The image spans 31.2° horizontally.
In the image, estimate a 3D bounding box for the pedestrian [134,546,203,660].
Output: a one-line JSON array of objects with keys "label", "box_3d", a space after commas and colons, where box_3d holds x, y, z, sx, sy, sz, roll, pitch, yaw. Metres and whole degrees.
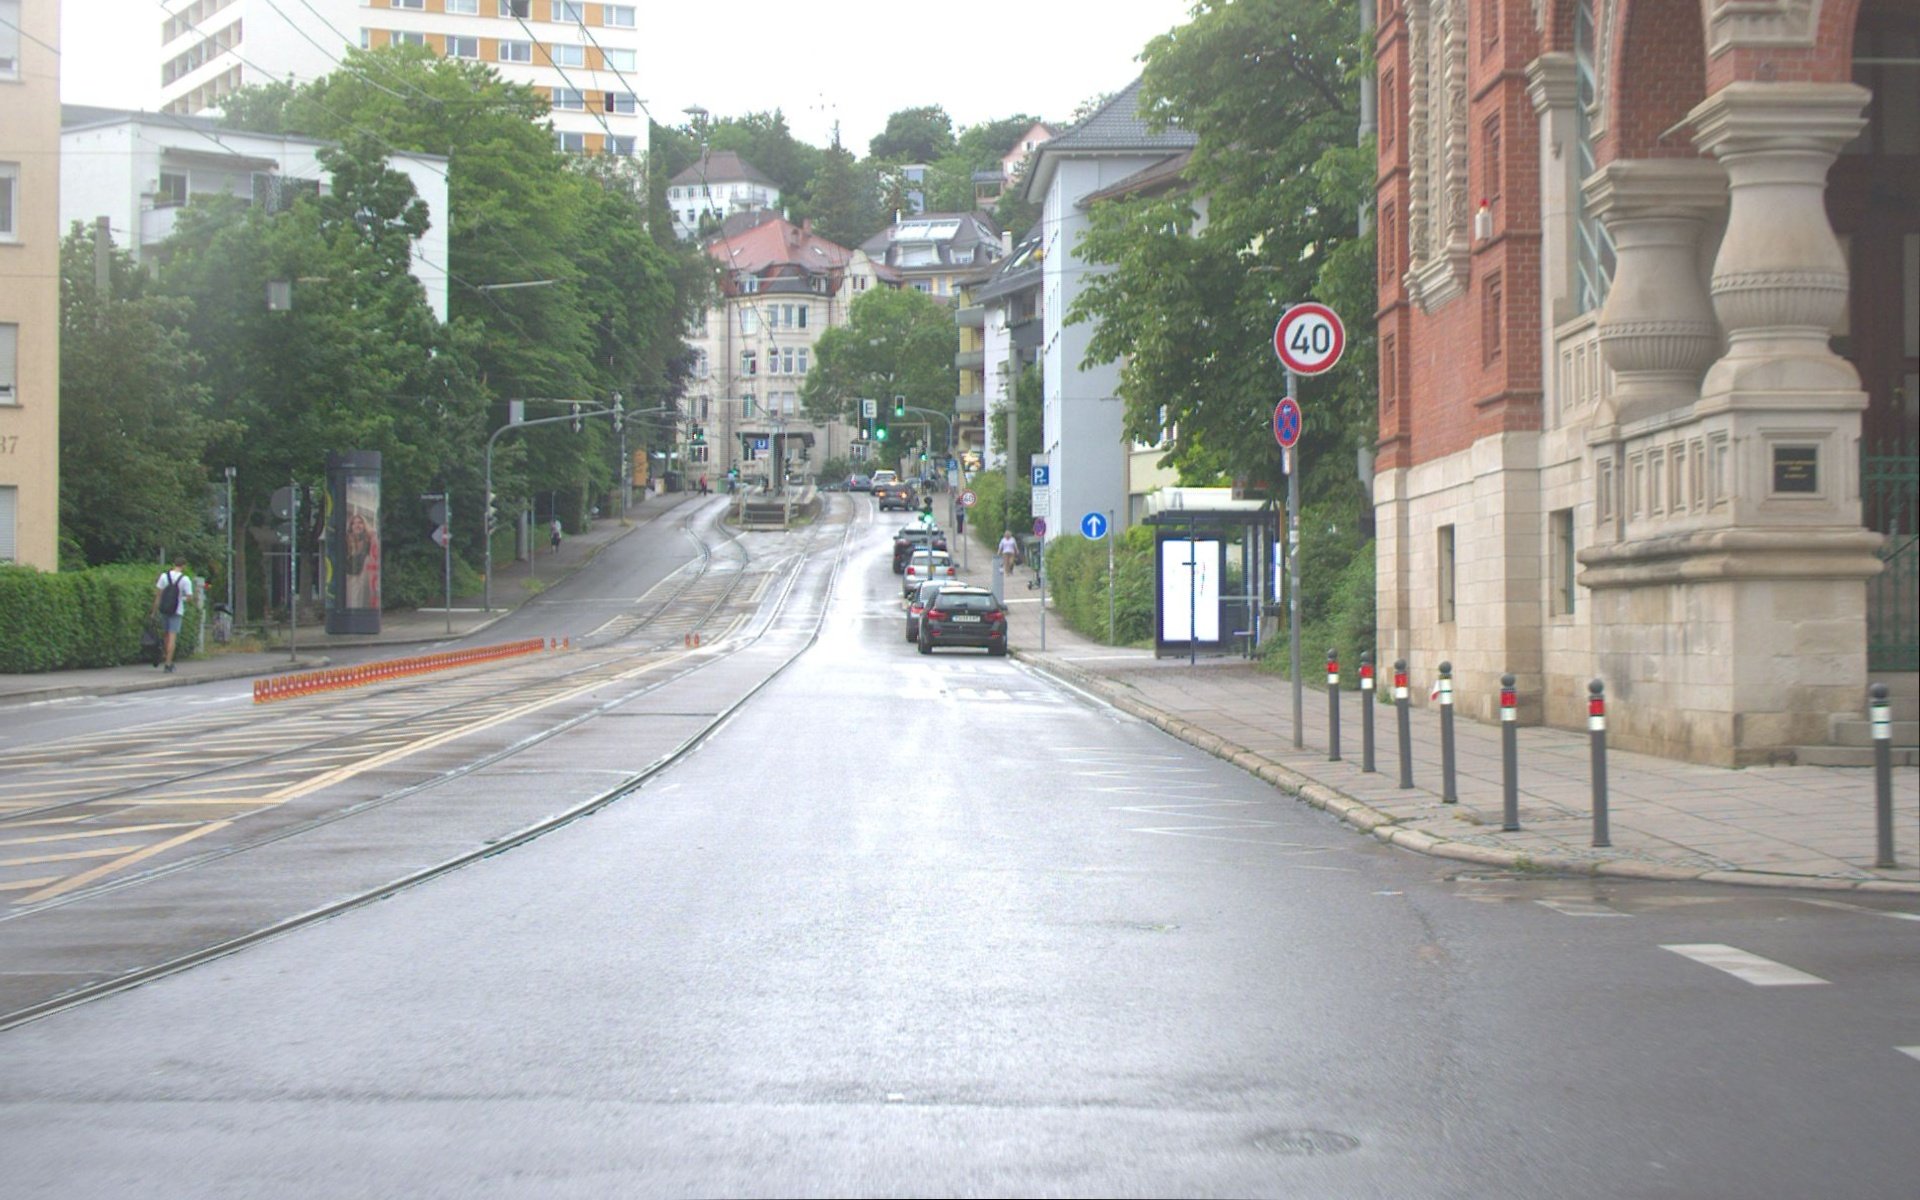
[{"label": "pedestrian", "box_3d": [-13.080, 0.049, 56.861, 0.918, 1.840, 1.017, 2, -1, -5]}]

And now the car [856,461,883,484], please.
[{"label": "car", "box_3d": [-6.819, -9.545, 257.609, 1.906, 1.636, 4.690, 2, 2, -2]}]

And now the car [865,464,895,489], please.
[{"label": "car", "box_3d": [-5.364, -8.290, 230.669, 1.906, 1.636, 4.690, 2, 2, -2]}]

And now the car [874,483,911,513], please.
[{"label": "car", "box_3d": [-3.900, -5.906, 199.260, 1.801, 1.640, 4.001, 1, 0, -6]}]

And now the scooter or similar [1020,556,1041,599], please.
[{"label": "scooter or similar", "box_3d": [2.280, -0.736, 110.423, 0.575, 1.245, 1.610, 1, 5, 4]}]

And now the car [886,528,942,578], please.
[{"label": "car", "box_3d": [-1.698, -1.742, 126.092, 1.906, 1.636, 4.690, 2, 2, -2]}]

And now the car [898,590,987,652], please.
[{"label": "car", "box_3d": [-0.457, 0.499, 84.862, 1.939, 1.459, 4.207, 1, 0, -3]}]

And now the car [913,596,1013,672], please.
[{"label": "car", "box_3d": [0.030, 0.703, 73.251, 1.858, 1.482, 4.645, -2, 0, -3]}]

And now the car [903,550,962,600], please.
[{"label": "car", "box_3d": [-0.894, -0.819, 109.778, 1.704, 1.428, 4.102, 2, 2, -2]}]

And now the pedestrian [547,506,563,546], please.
[{"label": "pedestrian", "box_3d": [-16.548, -3.036, 140.491, 0.583, 1.594, 0.869, 3, 1, -5]}]
